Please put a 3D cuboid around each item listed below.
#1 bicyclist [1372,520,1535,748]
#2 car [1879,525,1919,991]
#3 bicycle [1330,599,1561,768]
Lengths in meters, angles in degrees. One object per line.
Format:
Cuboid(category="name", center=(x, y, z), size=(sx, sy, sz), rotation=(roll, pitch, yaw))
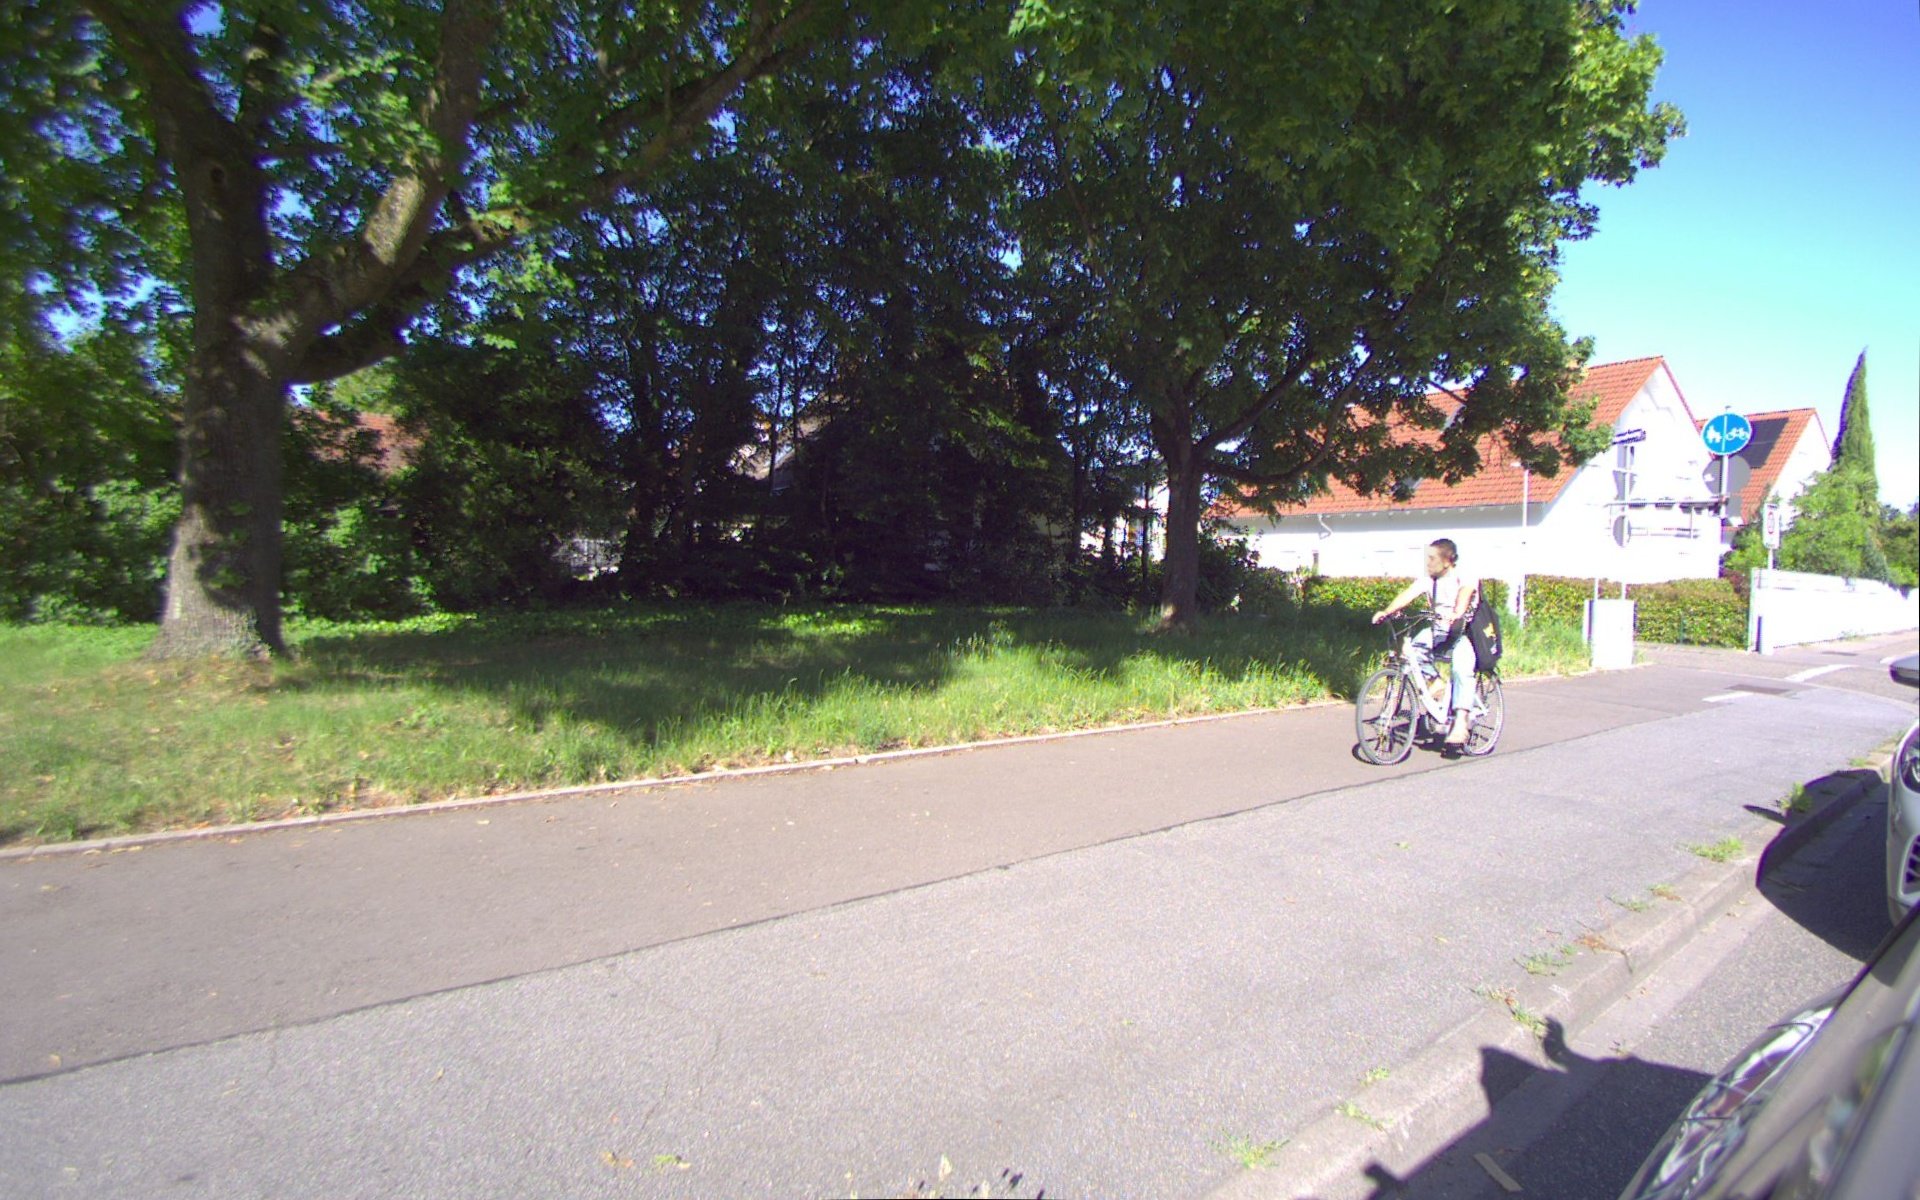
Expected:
Cuboid(category="bicyclist", center=(3.719, 0.241, 7.621), size=(0.978, 1.600, 0.581), rotation=(2, 2, -34))
Cuboid(category="car", center=(5.632, 0.602, 4.429), size=(4.133, 1.710, 1.857), rotation=(0, 3, -41))
Cuboid(category="bicycle", center=(3.692, 0.597, 7.627), size=(1.949, 1.111, 0.581), rotation=(2, 3, -34))
